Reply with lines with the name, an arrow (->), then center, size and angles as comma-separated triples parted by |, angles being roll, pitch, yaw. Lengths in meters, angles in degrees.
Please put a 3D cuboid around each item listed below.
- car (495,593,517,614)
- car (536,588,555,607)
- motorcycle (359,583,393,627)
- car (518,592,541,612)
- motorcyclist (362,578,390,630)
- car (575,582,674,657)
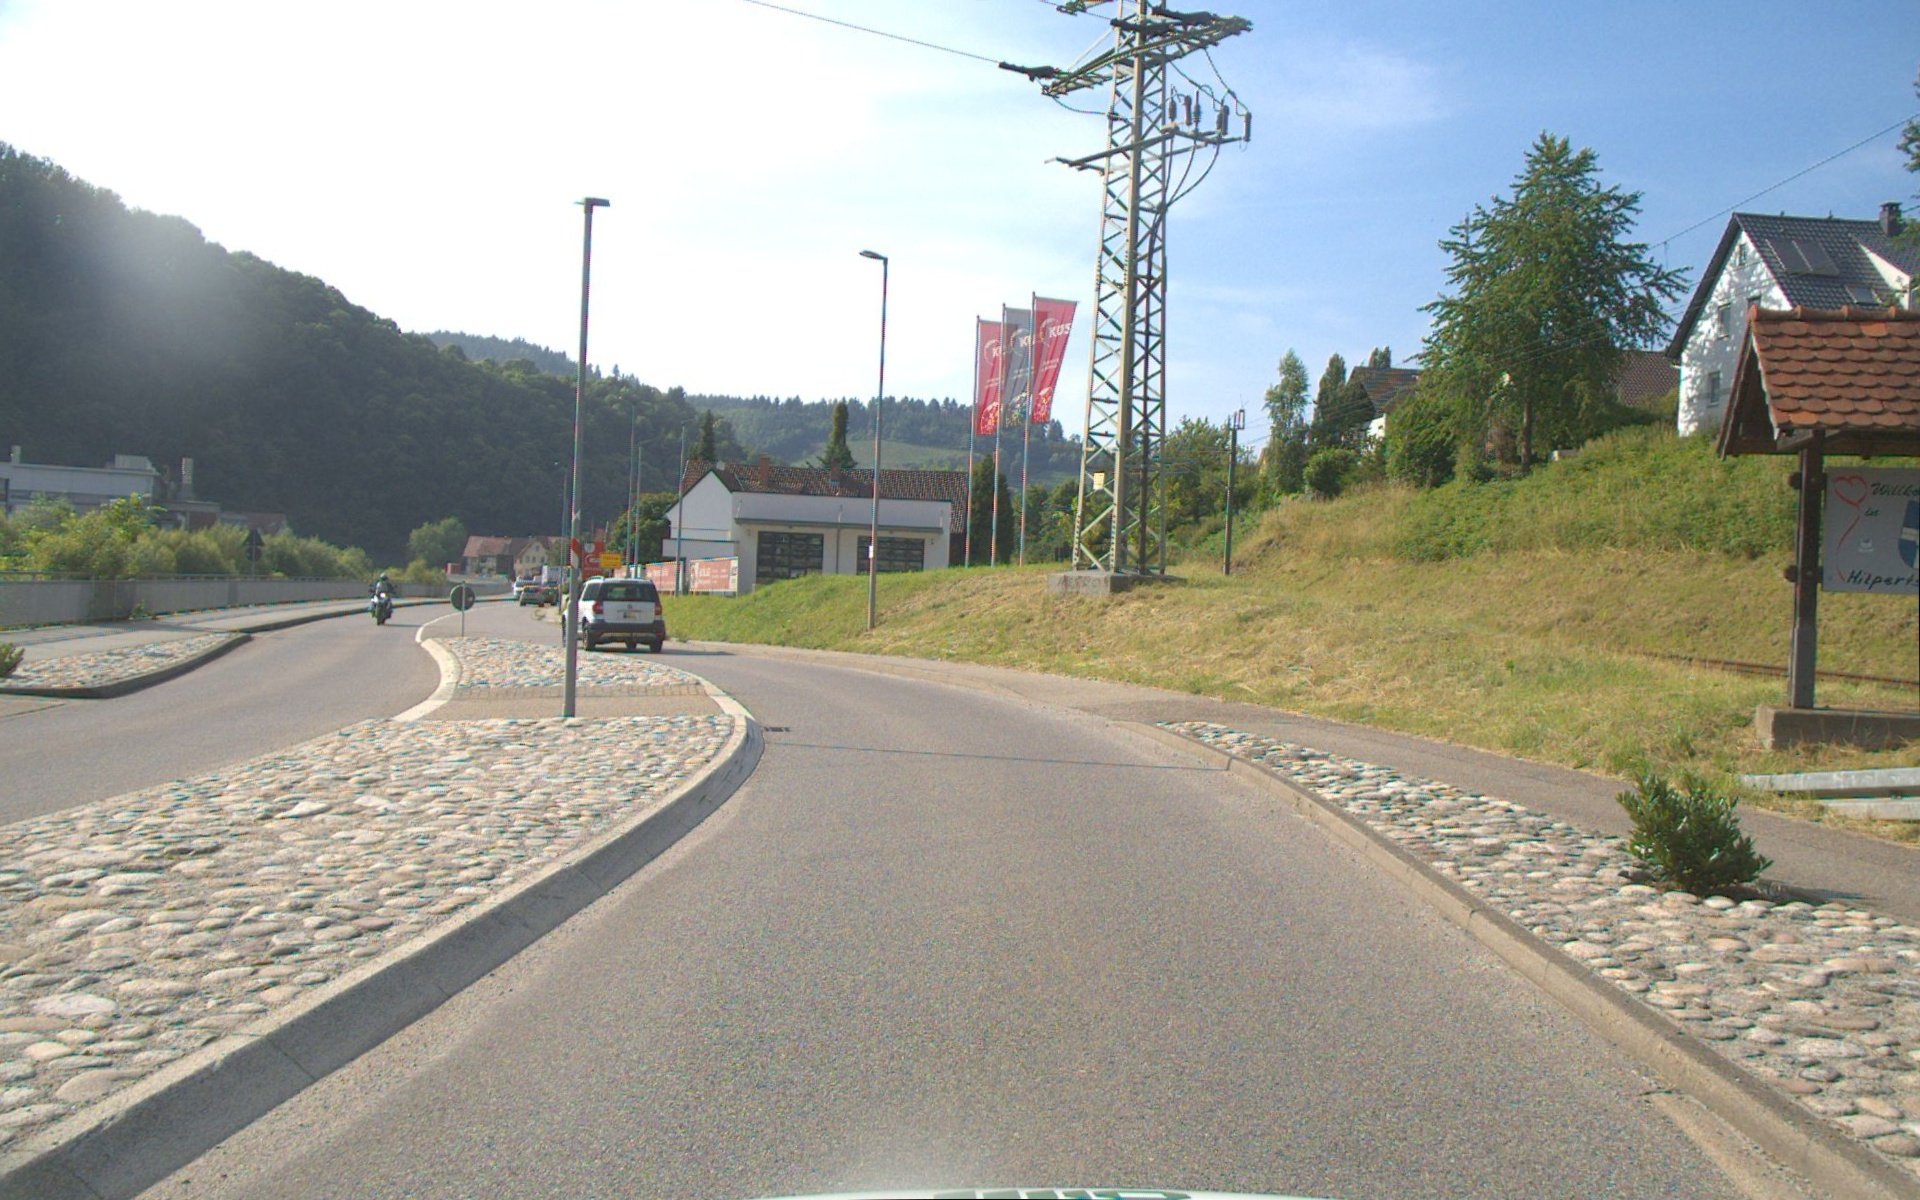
car -> -44.064, 0.363, 160.578 | 1.887, 2.002, 5.128 | 1, -1, -13
car -> -34.858, -0.225, 139.202 | 1.332, 1.460, 2.831 | 3, 1, -11
motorcycle -> -19.640, 0.172, 55.652 | 0.759, 1.447, 2.312 | 1, 0, -11
car -> -33.793, 0.120, 129.806 | 1.427, 1.460, 2.929 | 3, 1, -10
motorcyclist -> -19.597, 0.141, 55.527 | 0.749, 1.707, 0.725 | 1, -1, -11
car -> -7.832, 0.424, 38.386 | 1.831, 1.571, 4.353 | 3, -1, -16
